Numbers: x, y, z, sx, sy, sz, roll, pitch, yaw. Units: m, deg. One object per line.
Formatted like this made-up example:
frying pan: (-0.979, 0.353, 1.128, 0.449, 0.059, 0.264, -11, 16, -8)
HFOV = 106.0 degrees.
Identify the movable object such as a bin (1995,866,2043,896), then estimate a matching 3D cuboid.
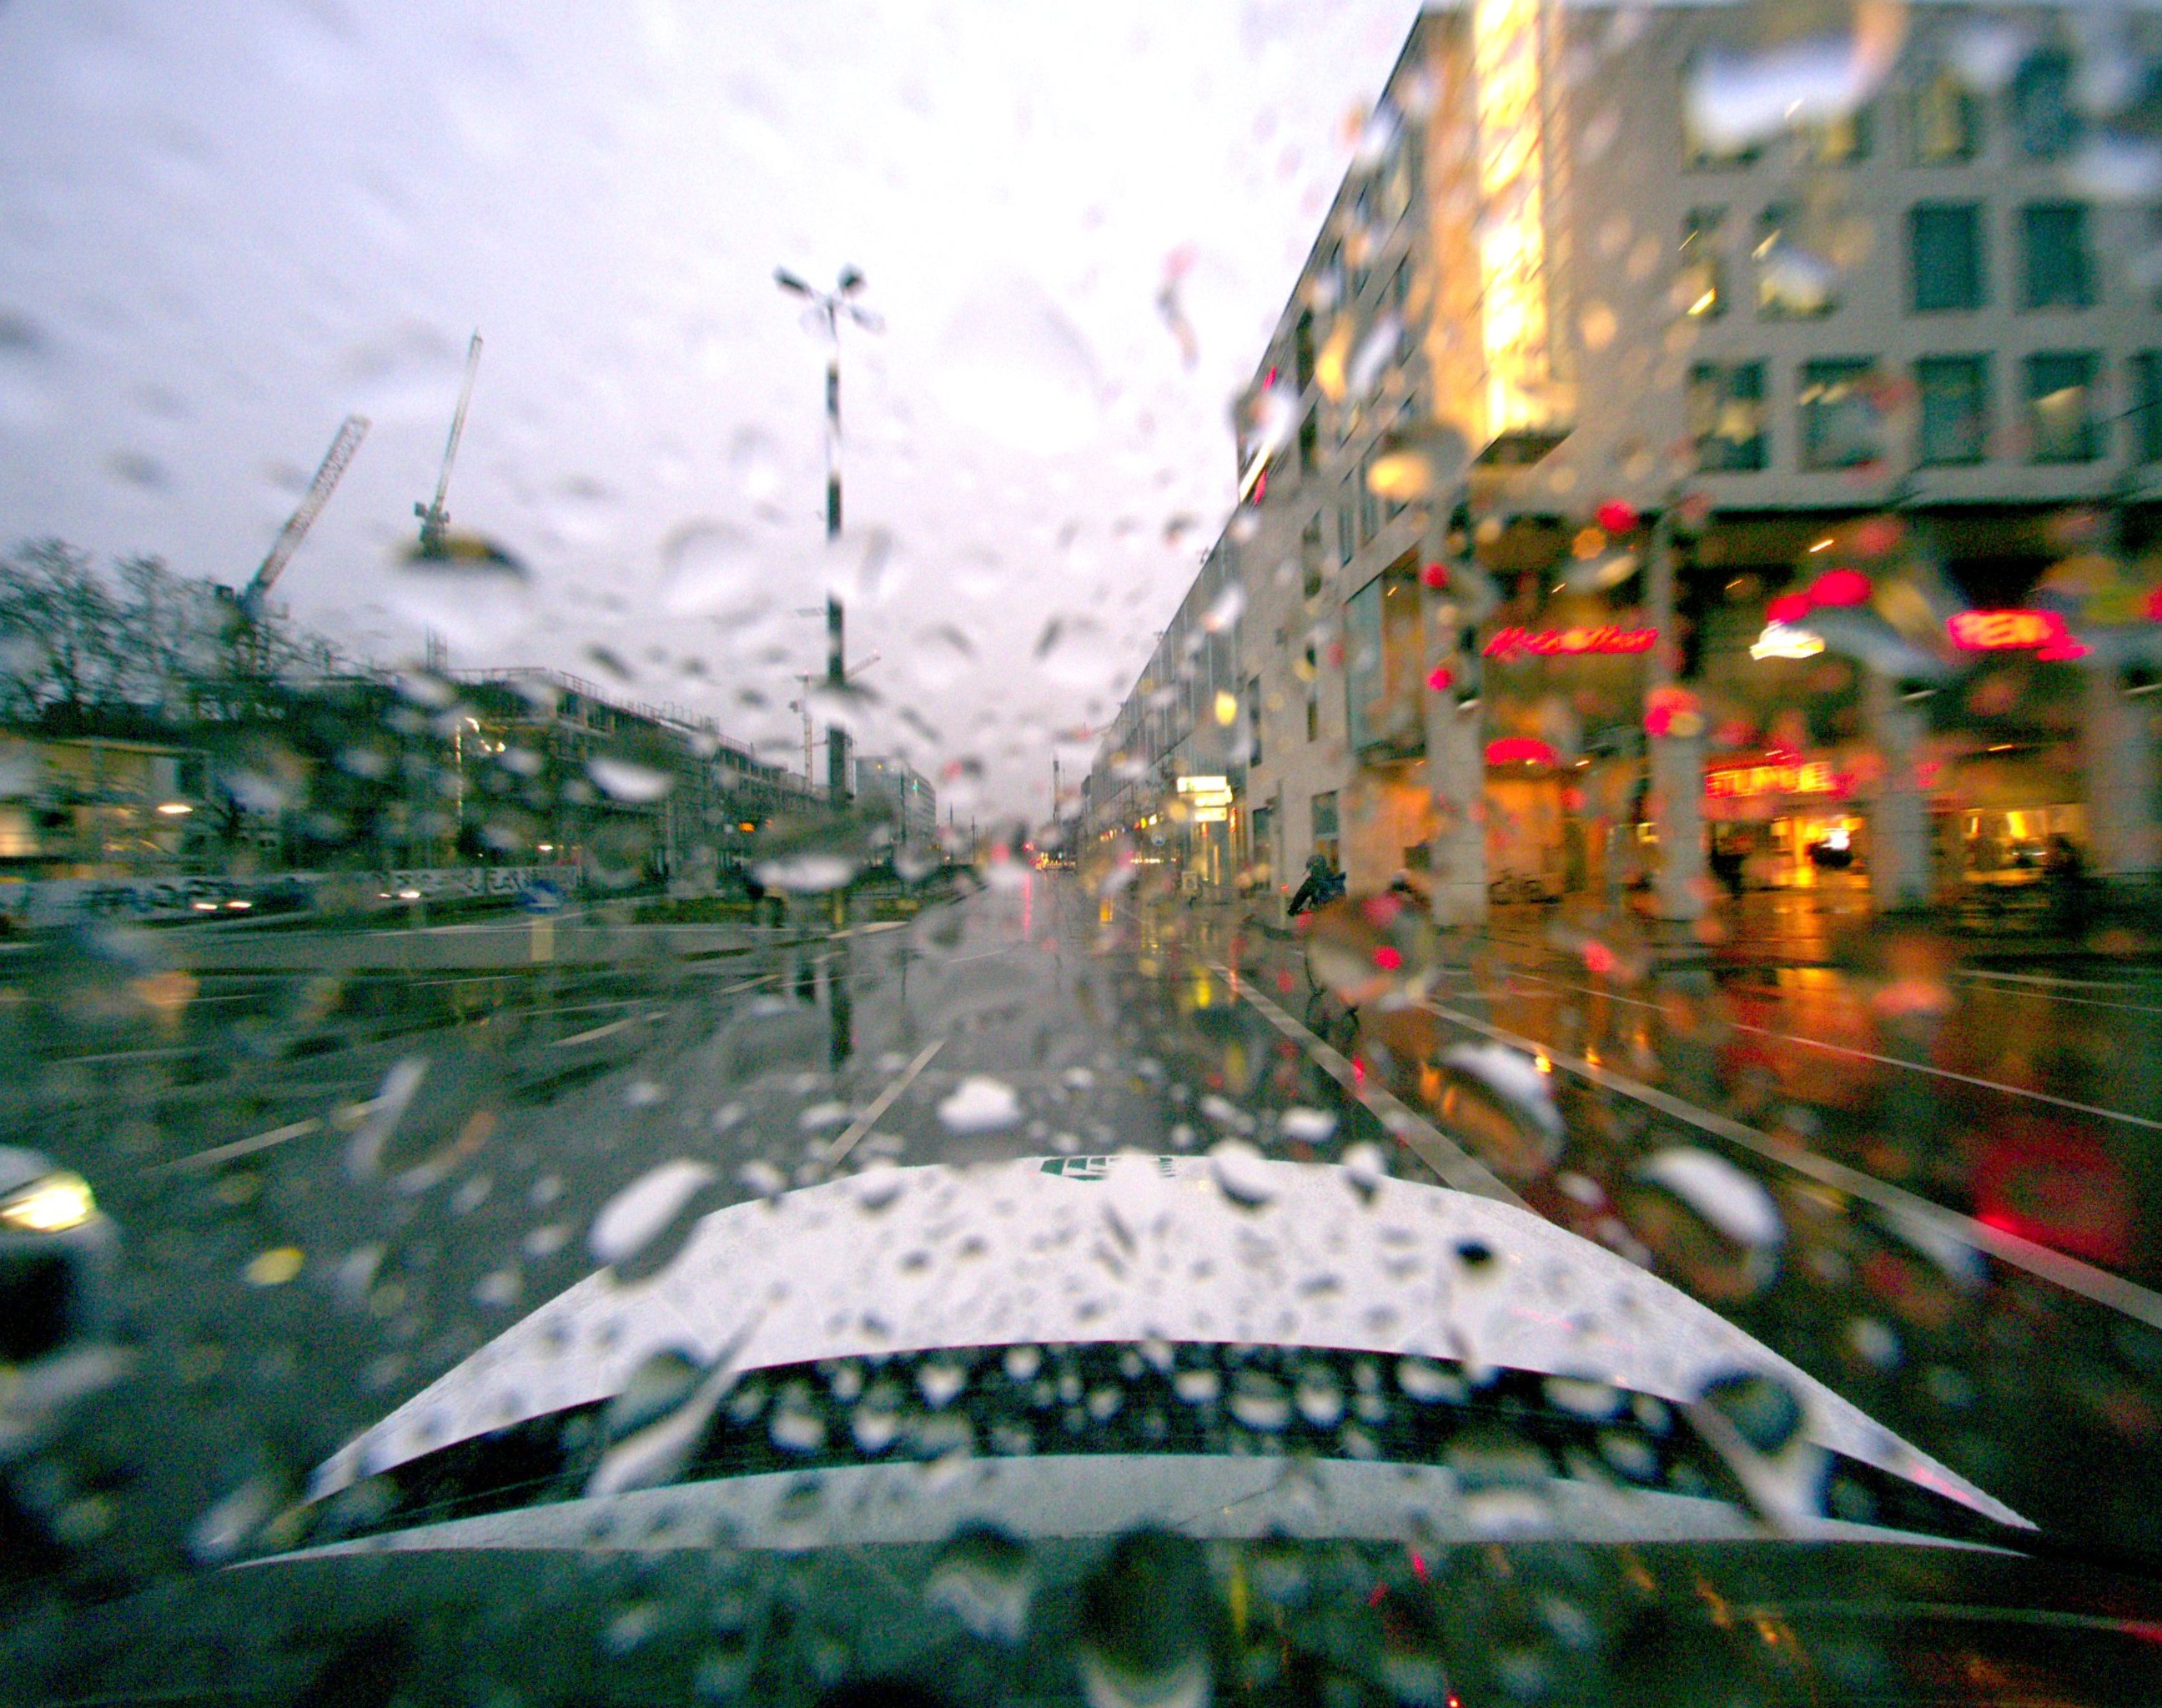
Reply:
movable object such as a bin: (22.818, 0.652, 19.817, 0.590, 0.706, 0.662, 0, 0, 31)

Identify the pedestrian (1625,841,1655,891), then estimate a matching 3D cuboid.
pedestrian: (18.929, 0.396, 27.581, 0.617, 1.673, 0.619, 0, 0, -24)

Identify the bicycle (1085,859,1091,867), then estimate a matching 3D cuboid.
bicycle: (1.163, 1.551, 137.942, 0.681, 1.222, 1.902, -4, -1, -5)

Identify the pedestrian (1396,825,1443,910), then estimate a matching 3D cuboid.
pedestrian: (8.882, 0.356, 21.401, 0.953, 2.192, 0.712, -1, -1, 8)

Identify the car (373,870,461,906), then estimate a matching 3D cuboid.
car: (-38.268, 1.918, 47.091, 1.872, 1.873, 4.374, 0, -1, -7)

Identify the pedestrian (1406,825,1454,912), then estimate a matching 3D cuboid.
pedestrian: (8.877, 0.360, 20.722, 0.959, 2.162, 0.582, -1, -1, 8)

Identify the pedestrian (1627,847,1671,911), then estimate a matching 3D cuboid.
pedestrian: (14.394, 0.623, 20.651, 0.775, 1.608, 0.500, 0, 0, -3)

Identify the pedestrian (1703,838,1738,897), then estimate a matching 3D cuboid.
pedestrian: (18.721, 0.396, 23.855, 0.610, 1.703, 0.626, 0, 0, 14)

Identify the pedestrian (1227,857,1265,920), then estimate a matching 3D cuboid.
pedestrian: (4.543, 0.936, 22.465, 0.706, 1.694, 0.720, -3, 0, -15)

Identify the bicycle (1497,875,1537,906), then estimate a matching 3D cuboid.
bicycle: (12.970, 1.082, 24.229, 1.065, 0.862, 0.343, -2, -1, -10)

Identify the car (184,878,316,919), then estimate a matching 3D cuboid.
car: (-36.965, 1.953, 36.396, 1.872, 1.616, 4.222, 0, -1, -7)

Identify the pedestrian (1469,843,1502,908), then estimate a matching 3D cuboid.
pedestrian: (11.471, 0.600, 23.087, 0.613, 1.805, 0.623, 0, 0, -3)

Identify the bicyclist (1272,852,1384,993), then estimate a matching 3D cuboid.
bicyclist: (2.709, 0.721, 9.061, 0.939, 1.463, 1.067, 0, -1, 1)

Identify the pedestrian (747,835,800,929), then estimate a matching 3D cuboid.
pedestrian: (-7.483, 0.665, 19.805, 1.056, 2.208, 0.948, 0, -1, -31)

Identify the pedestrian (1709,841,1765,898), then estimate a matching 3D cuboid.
pedestrian: (18.378, 0.437, 22.841, 0.891, 1.543, 0.822, -2, -1, 7)

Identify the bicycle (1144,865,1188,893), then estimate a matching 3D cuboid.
bicycle: (3.958, 1.143, 37.861, 1.900, 1.175, 0.666, -3, 0, -4)

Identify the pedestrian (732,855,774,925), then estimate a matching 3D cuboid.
pedestrian: (-8.248, 0.884, 20.468, 0.863, 1.714, 0.757, 0, -1, -31)

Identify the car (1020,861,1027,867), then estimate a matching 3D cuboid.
car: (-16.001, 2.661, 225.795, 1.897, 1.642, 3.995, 0, -1, -3)

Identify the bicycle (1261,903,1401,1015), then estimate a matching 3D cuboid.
bicycle: (2.714, 1.105, 9.165, 0.939, 0.999, 2.241, 0, -1, 2)

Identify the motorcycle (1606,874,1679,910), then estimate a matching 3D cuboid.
motorcycle: (14.493, 0.973, 21.030, 1.628, 0.889, 0.394, 0, 0, -3)

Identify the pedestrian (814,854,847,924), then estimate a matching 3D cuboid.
pedestrian: (-6.361, 0.870, 20.647, 0.656, 1.718, 0.743, 0, -1, -31)

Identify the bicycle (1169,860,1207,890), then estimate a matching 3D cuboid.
bicycle: (4.578, 0.888, 34.884, 1.540, 1.261, 0.671, -1, -1, 44)

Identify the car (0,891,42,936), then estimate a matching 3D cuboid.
car: (-36.753, 1.994, 25.968, 1.992, 1.459, 4.257, 0, -1, -7)

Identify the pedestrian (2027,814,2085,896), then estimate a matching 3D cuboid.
pedestrian: (23.353, 0.021, 19.519, 0.619, 1.908, 0.847, 0, 0, 29)

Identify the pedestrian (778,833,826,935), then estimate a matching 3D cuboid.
pedestrian: (-6.027, 0.633, 17.642, 0.905, 2.145, 1.013, 0, -1, -15)
